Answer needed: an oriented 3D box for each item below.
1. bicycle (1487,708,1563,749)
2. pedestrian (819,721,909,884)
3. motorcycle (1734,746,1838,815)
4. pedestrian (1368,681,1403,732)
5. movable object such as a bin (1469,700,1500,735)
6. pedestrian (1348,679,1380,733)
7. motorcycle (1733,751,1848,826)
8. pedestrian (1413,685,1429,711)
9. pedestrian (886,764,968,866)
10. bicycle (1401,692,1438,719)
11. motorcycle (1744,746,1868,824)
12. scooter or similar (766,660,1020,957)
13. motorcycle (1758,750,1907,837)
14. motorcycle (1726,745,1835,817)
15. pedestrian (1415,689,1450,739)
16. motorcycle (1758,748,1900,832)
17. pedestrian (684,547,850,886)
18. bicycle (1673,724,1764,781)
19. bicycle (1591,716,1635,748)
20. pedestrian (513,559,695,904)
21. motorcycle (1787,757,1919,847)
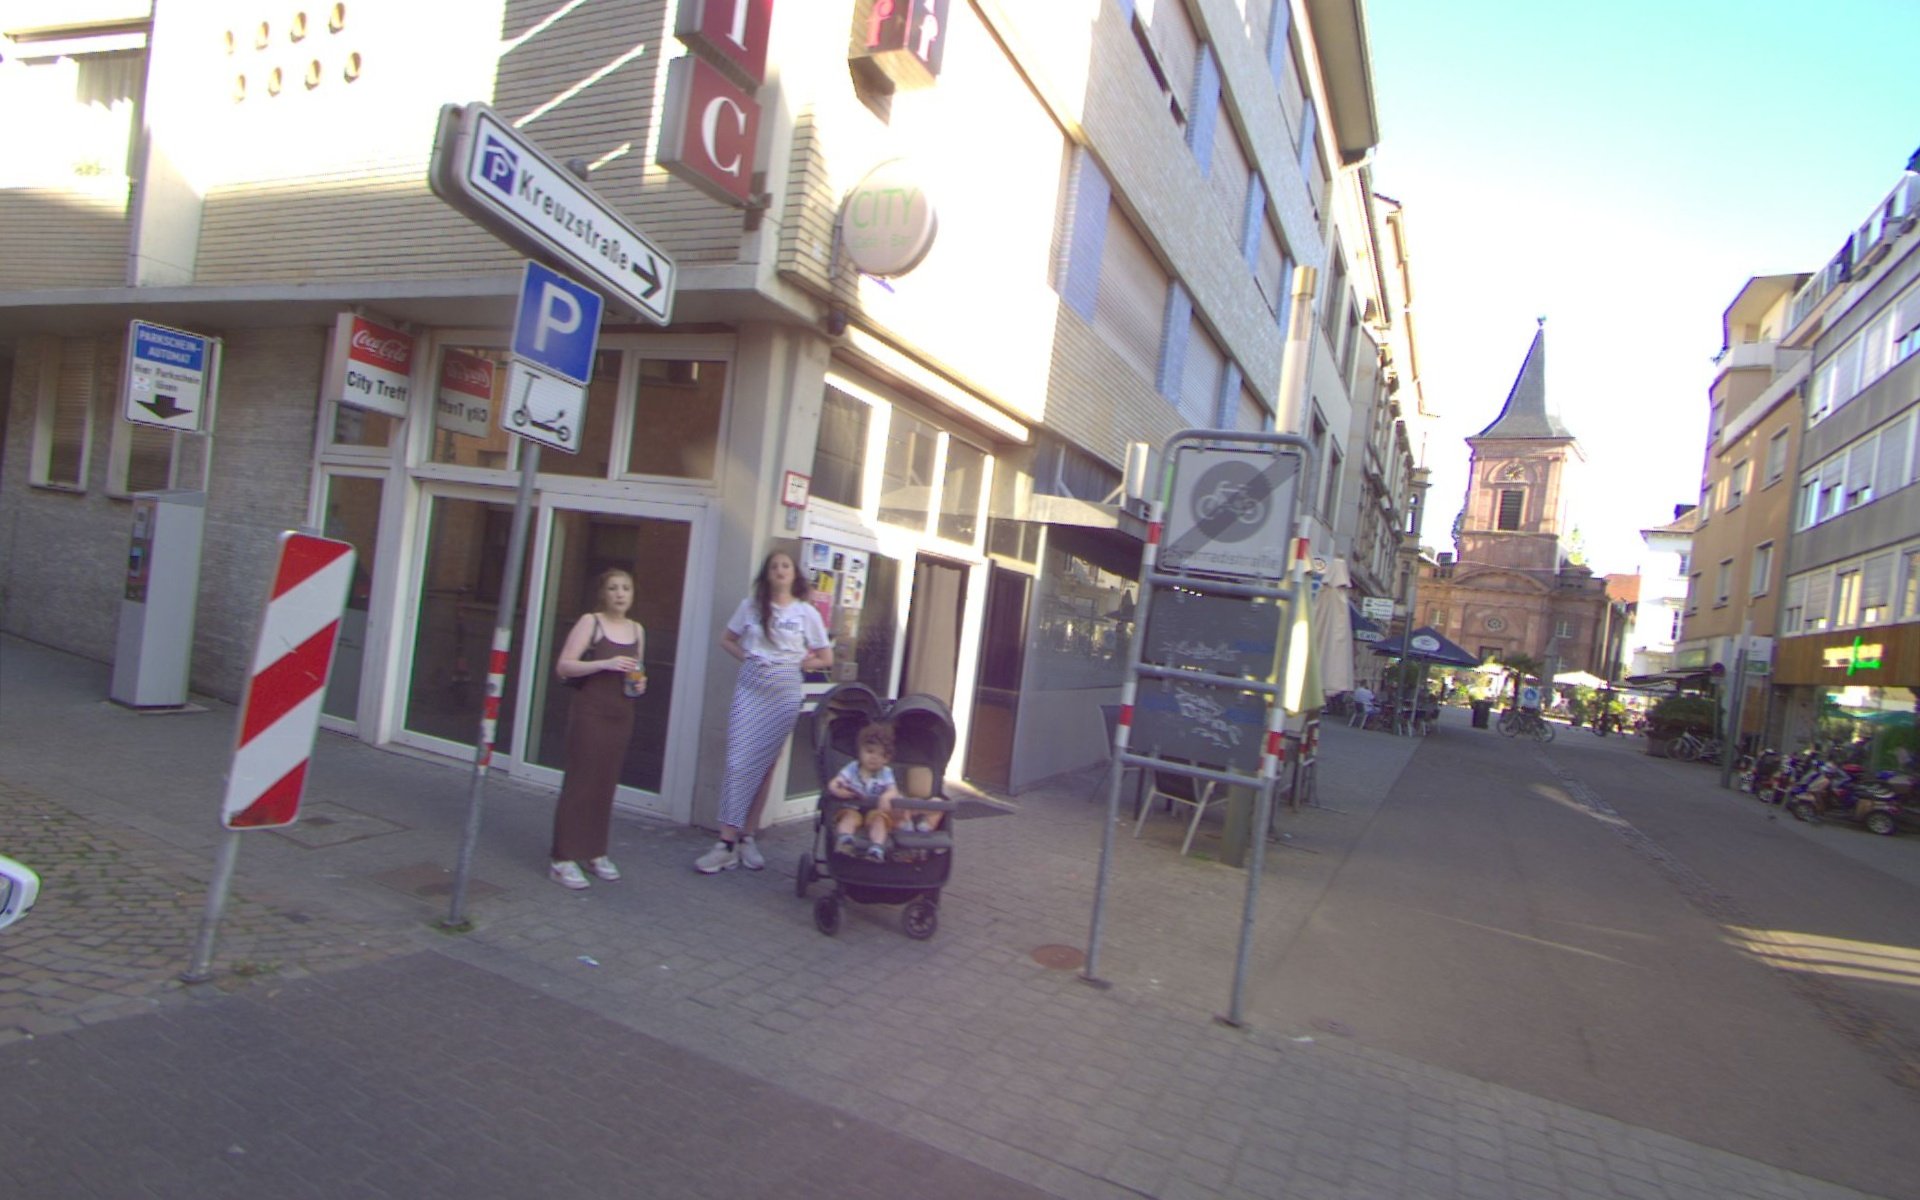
[{"bbox_3d":[19.452,4.411,34.686,2.131,0.995,0.815,9,0,30],"label":"bicycle"},{"bbox_3d":[-0.466,0.942,4.769,0.326,0.640,0.508,7,0,-8],"label":"pedestrian"},{"bbox_3d":[18.496,4.027,22.559,1.667,1.188,0.511,8,0,39],"label":"motorcycle"},{"bbox_3d":[12.529,3.124,29.619,0.752,1.372,0.550,7,0,31],"label":"pedestrian"},{"bbox_3d":[19.995,4.473,38.365,0.889,1.137,0.780,7,0,24],"label":"movable object such as a bin"},{"bbox_3d":[10.950,2.867,27.290,0.654,1.372,0.551,7,0,22],"label":"pedestrian"},{"bbox_3d":[17.328,3.913,21.041,1.663,1.188,0.596,8,0,32],"label":"motorcycle"},{"bbox_3d":[27.588,5.877,60.235,0.617,1.467,0.797,7,0,19],"label":"pedestrian"},{"bbox_3d":[-0.166,1.053,4.955,0.326,0.403,0.312,7,0,-8],"label":"pedestrian"},{"bbox_3d":[21.453,4.930,46.977,0.502,1.015,1.386,7,0,-33],"label":"bicycle"},{"bbox_3d":[17.003,3.692,20.244,0.551,1.188,1.761,8,0,-44],"label":"motorcycle"},{"bbox_3d":[-0.378,0.998,5.028,0.859,1.191,1.039,7,2,-21],"label":"scooter or similar"},{"bbox_3d":[16.078,3.546,18.607,0.621,1.188,1.889,8,0,-24],"label":"motorcycle"},{"bbox_3d":[17.781,3.911,21.841,1.664,1.188,0.512,8,0,32],"label":"motorcycle"},{"bbox_3d":[14.206,3.428,30.264,0.752,1.372,0.550,7,0,31],"label":"pedestrian"},{"bbox_3d":[16.617,3.623,19.291,0.537,1.188,1.895,8,0,-31],"label":"motorcycle"},{"bbox_3d":[-1.095,0.628,5.623,0.618,1.757,0.619,7,0,-20],"label":"pedestrian"},{"bbox_3d":[23.876,4.802,31.708,2.104,1.360,0.590,7,-8,32],"label":"bicycle"},{"bbox_3d":[28.424,5.736,43.794,1.794,1.168,0.407,8,0,-16],"label":"bicycle"},{"bbox_3d":[-1.746,0.616,4.955,0.434,1.561,0.572,8,3,35],"label":"pedestrian"},{"bbox_3d":[15.694,3.498,17.607,0.787,1.168,1.681,8,0,-40],"label":"motorcycle"}]
